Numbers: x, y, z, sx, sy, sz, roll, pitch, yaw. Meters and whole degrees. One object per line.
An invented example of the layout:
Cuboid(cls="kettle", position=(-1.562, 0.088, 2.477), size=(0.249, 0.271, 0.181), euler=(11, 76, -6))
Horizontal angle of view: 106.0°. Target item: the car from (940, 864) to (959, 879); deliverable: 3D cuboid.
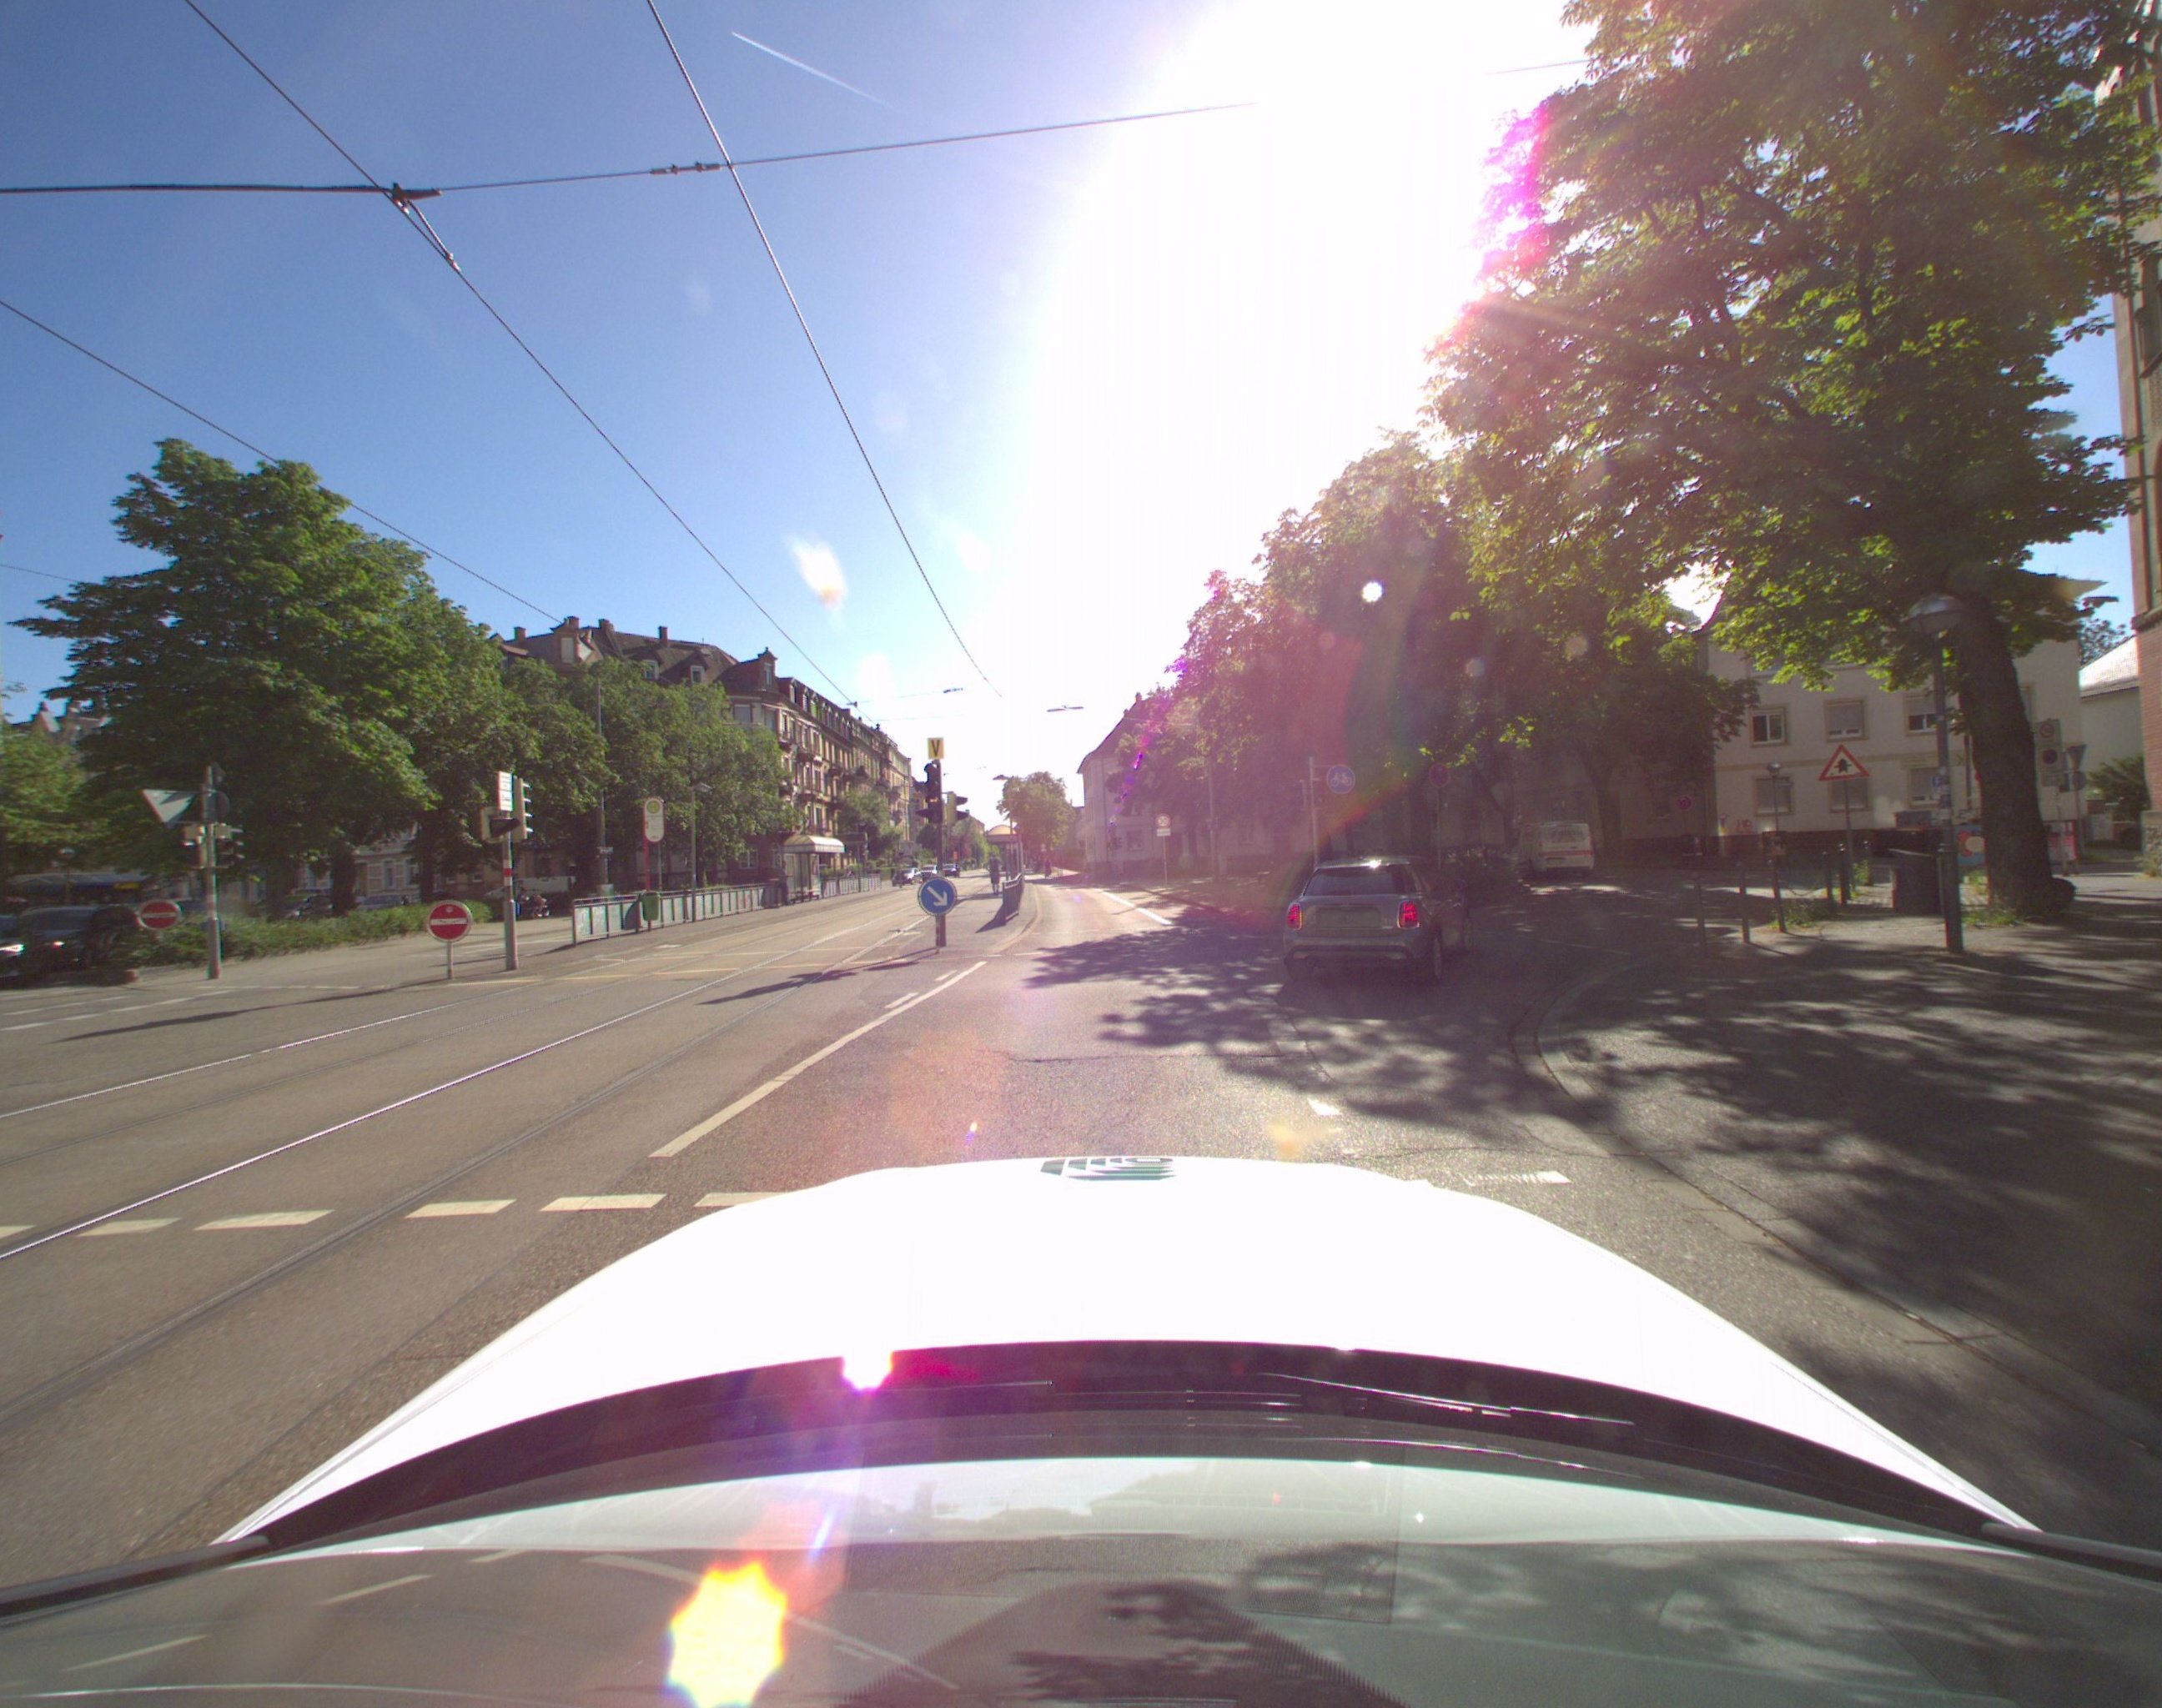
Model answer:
Cuboid(cls="car", position=(-15.045, 1.998, 93.468), size=(1.773, 1.618, 3.992), euler=(-2, -1, -5))

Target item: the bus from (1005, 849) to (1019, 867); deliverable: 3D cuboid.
Cuboid(cls="bus", position=(-13.549, 0.824, 159.472), size=(2.382, 3.496, 7.368), euler=(-1, -1, -6))

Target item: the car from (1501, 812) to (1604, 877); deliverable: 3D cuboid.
Cuboid(cls="car", position=(17.610, -0.296, 30.692), size=(2.102, 2.208, 4.964), euler=(-2, -1, 15))

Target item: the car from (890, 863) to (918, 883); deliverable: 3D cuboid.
Cuboid(cls="car", position=(-15.030, 1.603, 69.388), size=(1.773, 1.618, 3.992), euler=(-2, -1, -5))

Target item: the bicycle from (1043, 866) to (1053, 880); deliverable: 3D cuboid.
Cuboid(cls="bicycle", position=(-2.934, 1.671, 72.644), size=(0.840, 1.156, 2.535), euler=(-2, -1, -4))

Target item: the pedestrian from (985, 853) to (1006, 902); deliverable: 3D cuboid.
Cuboid(cls="pedestrian", position=(-3.581, 0.988, 34.153), size=(0.794, 2.014, 0.739), euler=(-2, -1, -3))

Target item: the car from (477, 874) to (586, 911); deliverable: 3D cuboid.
Cuboid(cls="car", position=(-33.080, 2.271, 49.212), size=(5.018, 2.014, 1.991), euler=(-1, -1, -13))

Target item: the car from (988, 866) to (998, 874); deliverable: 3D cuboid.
Cuboid(cls="car", position=(-18.948, 3.439, 175.398), size=(1.989, 1.596, 3.994), euler=(-2, -1, -4))

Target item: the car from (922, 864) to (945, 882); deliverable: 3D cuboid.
Cuboid(cls="car", position=(-14.339, 1.815, 79.341), size=(1.773, 1.618, 3.992), euler=(-2, -1, -5))

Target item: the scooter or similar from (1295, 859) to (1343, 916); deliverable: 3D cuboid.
Cuboid(cls="scooter or similar", position=(5.719, 0.785, 19.643), size=(0.674, 1.310, 1.327), euler=(-2, -1, -3))

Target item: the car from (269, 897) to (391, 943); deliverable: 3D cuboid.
Cuboid(cls="car", position=(-30.375, 2.636, 33.108), size=(1.749, 1.431, 3.984), euler=(-3, 1, -12))

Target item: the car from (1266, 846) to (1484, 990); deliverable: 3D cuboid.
Cuboid(cls="car", position=(3.975, 0.686, 10.563), size=(1.798, 1.488, 4.025), euler=(-2, -1, 32))

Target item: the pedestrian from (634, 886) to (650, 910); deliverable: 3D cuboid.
Cuboid(cls="pedestrian", position=(-23.091, 2.311, 42.863), size=(0.608, 1.201, 0.575), euler=(-3, 0, -21))

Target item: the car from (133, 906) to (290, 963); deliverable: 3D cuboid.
Cuboid(cls="car", position=(-29.170, 2.649, 27.525), size=(1.752, 1.431, 3.978), euler=(-3, 1, -16))

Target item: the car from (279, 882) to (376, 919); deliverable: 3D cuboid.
Cuboid(cls="car", position=(-43.670, 2.687, 47.207), size=(4.540, 2.014, 2.008), euler=(-2, -1, 15))

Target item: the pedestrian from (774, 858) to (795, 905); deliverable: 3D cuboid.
Cuboid(cls="pedestrian", position=(-11.817, 1.084, 32.462), size=(0.605, 1.795, 0.578), euler=(-3, 0, -5))

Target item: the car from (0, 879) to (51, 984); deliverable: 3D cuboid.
Cuboid(cls="car", position=(-22.970, 1.577, 16.379), size=(3.950, 2.014, 2.012), euler=(-2, -1, 26))

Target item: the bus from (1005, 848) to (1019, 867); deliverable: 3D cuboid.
Cuboid(cls="bus", position=(-12.851, 0.697, 152.113), size=(2.382, 3.496, 7.368), euler=(-1, -1, -6))

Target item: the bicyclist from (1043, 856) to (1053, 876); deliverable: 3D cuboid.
Cuboid(cls="bicyclist", position=(-2.945, 1.074, 72.663), size=(0.816, 1.811, 1.057), euler=(-1, -1, -4))

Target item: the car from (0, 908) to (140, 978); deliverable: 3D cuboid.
Cuboid(cls="car", position=(-26.834, 2.279, 21.639), size=(1.763, 1.431, 3.953), euler=(-3, 1, -40))

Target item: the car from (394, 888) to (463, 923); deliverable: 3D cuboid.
Cuboid(cls="car", position=(-33.164, 2.584, 41.499), size=(1.756, 1.431, 3.967), euler=(-3, 1, -25))

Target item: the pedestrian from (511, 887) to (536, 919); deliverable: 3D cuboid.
Cuboid(cls="pedestrian", position=(-21.671, 1.895, 31.651), size=(0.608, 1.201, 0.575), euler=(-3, 0, -21))

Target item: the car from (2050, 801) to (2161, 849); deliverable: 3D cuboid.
Cuboid(cls="car", position=(35.515, -0.964, 27.412), size=(1.588, 1.477, 3.812), euler=(-2, -1, 9))

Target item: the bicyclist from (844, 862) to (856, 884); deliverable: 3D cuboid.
Cuboid(cls="bicyclist", position=(-17.809, 1.495, 62.817), size=(0.711, 1.665, 0.734), euler=(-2, -1, 0))
